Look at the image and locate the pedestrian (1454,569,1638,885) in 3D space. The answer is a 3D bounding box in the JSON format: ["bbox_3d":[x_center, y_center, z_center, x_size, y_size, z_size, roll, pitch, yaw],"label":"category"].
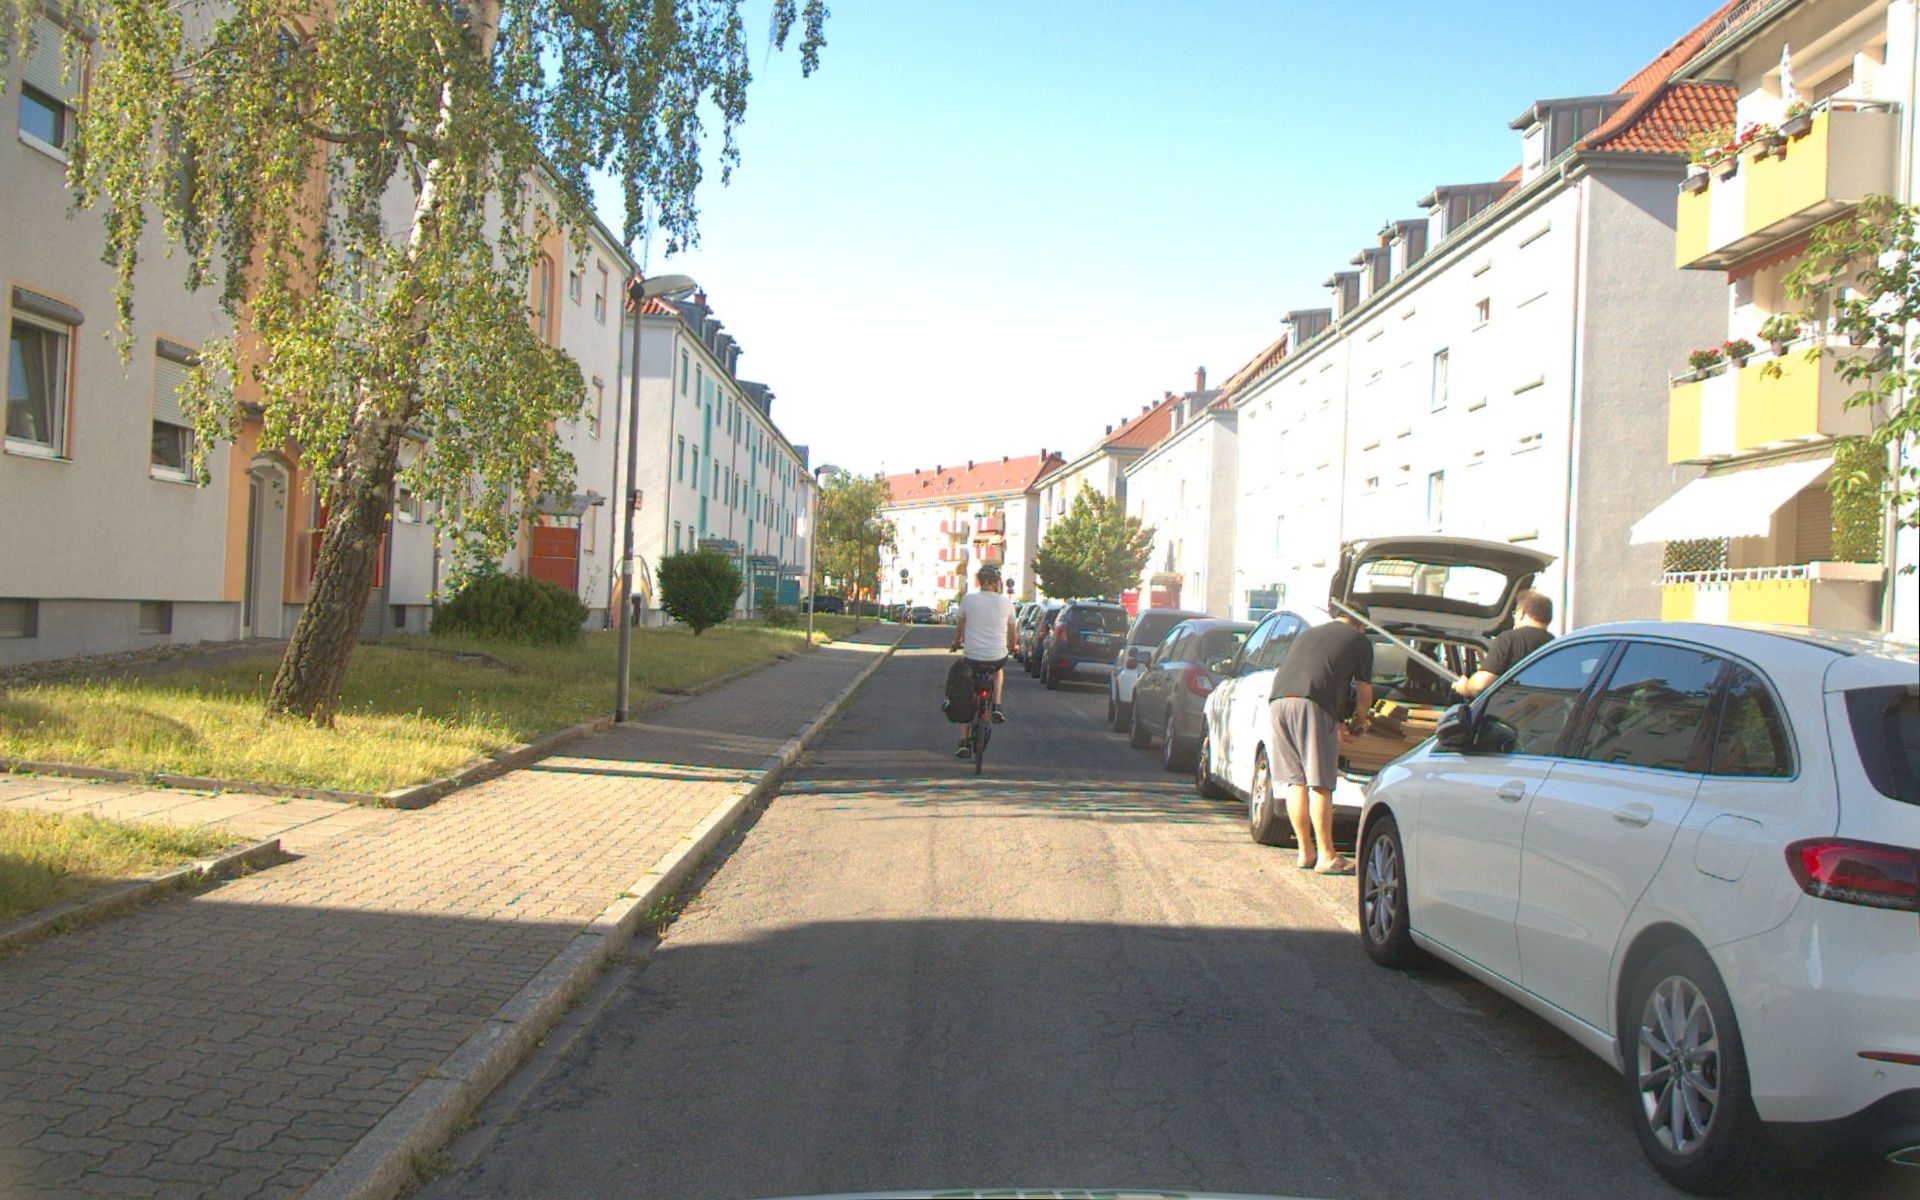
[{"bbox_3d":[3.299,0.695,9.351,0.803,1.717,0.604,1,0,-1],"label":"pedestrian"}]

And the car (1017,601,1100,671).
[{"bbox_3d":[2.475,0.870,42.524,1.656,1.602,4.433,3,0,-2],"label":"car"}]

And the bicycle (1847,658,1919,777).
[{"bbox_3d":[9.815,1.206,17.275,0.395,1.152,1.273,2,0,0],"label":"bicycle"}]

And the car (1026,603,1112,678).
[{"bbox_3d":[2.385,0.862,36.916,1.608,1.524,4.156,2,0,0],"label":"car"}]

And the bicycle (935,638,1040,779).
[{"bbox_3d":[0.222,0.952,15.171,0.792,1.148,2.100,1,0,-3],"label":"bicycle"}]

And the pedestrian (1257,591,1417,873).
[{"bbox_3d":[2.233,0.755,9.887,0.724,1.602,0.879,1,0,-1],"label":"pedestrian"}]

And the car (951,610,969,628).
[{"bbox_3d":[-0.010,1.661,144.792,1.354,1.523,3.075,2,0,-3],"label":"car"}]

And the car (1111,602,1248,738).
[{"bbox_3d":[2.811,0.863,21.649,1.449,1.555,2.942,4,0,3],"label":"car"}]

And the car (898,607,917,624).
[{"bbox_3d":[-4.401,1.306,139.502,1.440,1.359,3.138,-1,0,-5],"label":"car"}]

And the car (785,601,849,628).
[{"bbox_3d":[-9.466,0.948,109.634,4.149,1.667,1.581,2,0,-5],"label":"car"}]

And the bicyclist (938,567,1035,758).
[{"bbox_3d":[0.231,0.554,15.090,0.792,1.672,0.898,1,0,-3],"label":"bicyclist"}]

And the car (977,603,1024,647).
[{"bbox_3d":[1.713,1.060,72.014,1.667,1.700,4.377,4,0,-2],"label":"car"}]

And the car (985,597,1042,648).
[{"bbox_3d":[1.948,0.804,61.235,1.824,1.697,4.126,4,0,-1],"label":"car"}]

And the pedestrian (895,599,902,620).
[{"bbox_3d":[-4.645,0.706,124.849,0.425,1.602,0.543,2,0,-1],"label":"pedestrian"}]

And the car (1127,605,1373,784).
[{"bbox_3d":[2.865,0.878,17.175,1.660,1.517,3.983,4,0,-2],"label":"car"}]

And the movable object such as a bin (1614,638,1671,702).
[{"bbox_3d":[11.481,1.179,27.836,0.629,1.053,0.757,1,-2,0],"label":"movable object such as a bin"}]

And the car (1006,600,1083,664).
[{"bbox_3d":[2.428,0.891,48.575,1.716,1.645,4.449,4,0,-3],"label":"car"}]

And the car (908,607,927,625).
[{"bbox_3d":[-3.419,1.313,132.856,1.440,1.358,3.139,2,0,-3],"label":"car"}]

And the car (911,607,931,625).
[{"bbox_3d":[-3.017,1.252,128.841,1.440,1.358,3.139,2,0,-3],"label":"car"}]

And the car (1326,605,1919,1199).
[{"bbox_3d":[2.795,0.829,5.930,1.737,1.531,4.478,3,0,-3],"label":"car"}]

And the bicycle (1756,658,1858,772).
[{"bbox_3d":[8.930,1.194,17.476,0.395,1.106,1.299,1,0,0],"label":"bicycle"}]

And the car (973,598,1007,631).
[{"bbox_3d":[1.720,0.832,95.536,1.641,1.769,3.940,3,0,-3],"label":"car"}]

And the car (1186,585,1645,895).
[{"bbox_3d":[2.947,0.806,11.965,1.953,1.641,4.996,4,0,1],"label":"car"}]

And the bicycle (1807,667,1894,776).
[{"bbox_3d":[8.916,1.211,16.567,0.725,1.065,0.239,1,0,1],"label":"bicycle"}]

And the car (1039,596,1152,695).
[{"bbox_3d":[2.527,0.816,31.821,1.747,1.676,4.468,4,0,0],"label":"car"}]
